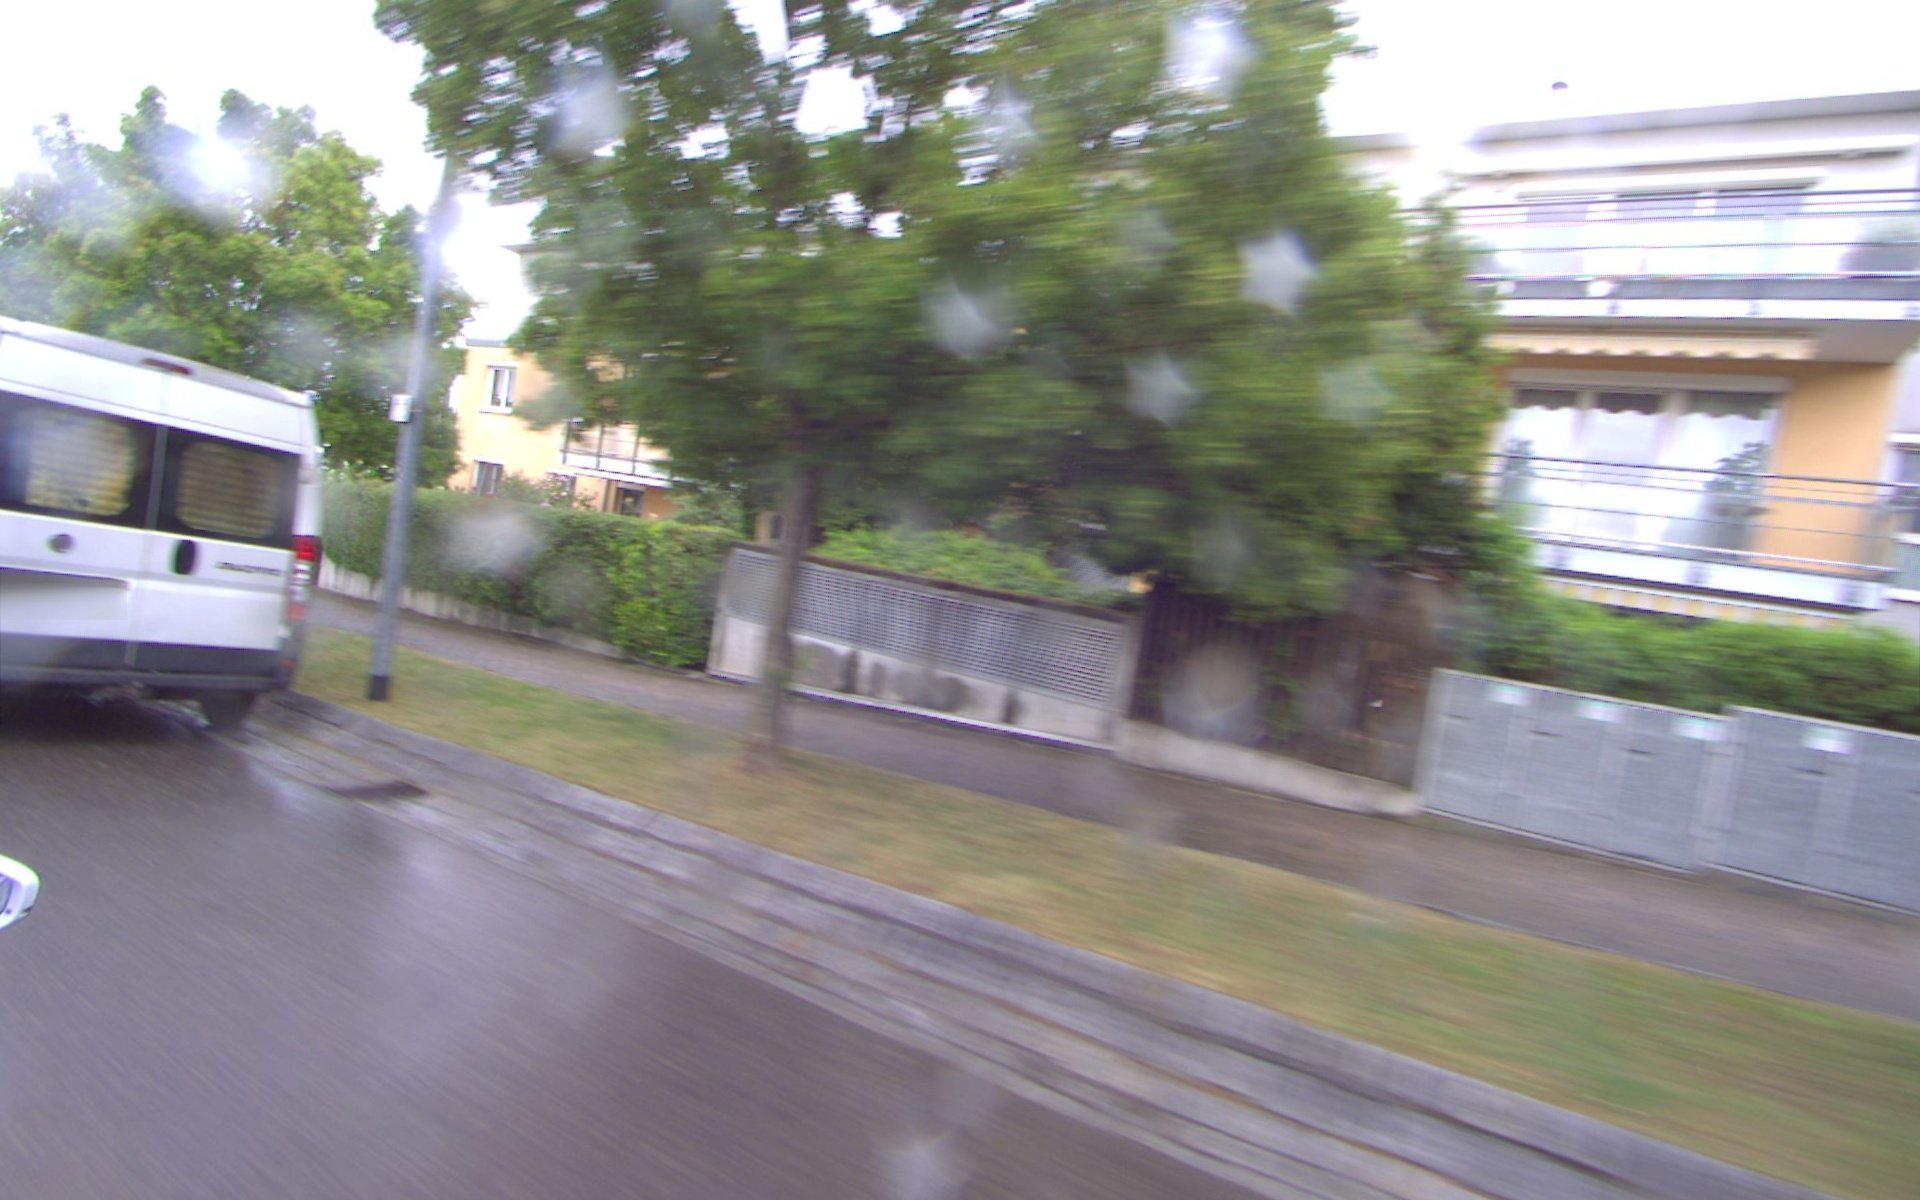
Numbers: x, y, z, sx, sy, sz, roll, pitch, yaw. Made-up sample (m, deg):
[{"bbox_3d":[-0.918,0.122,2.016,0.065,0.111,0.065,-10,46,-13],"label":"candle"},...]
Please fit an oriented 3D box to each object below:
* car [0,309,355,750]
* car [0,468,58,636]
[{"bbox_3d":[-7.290,-0.584,7.876,5.422,2.497,2.119,7,0,34],"label":"car"},{"bbox_3d":[-12.062,-0.789,11.418,4.529,1.724,1.809,8,0,38],"label":"car"}]
